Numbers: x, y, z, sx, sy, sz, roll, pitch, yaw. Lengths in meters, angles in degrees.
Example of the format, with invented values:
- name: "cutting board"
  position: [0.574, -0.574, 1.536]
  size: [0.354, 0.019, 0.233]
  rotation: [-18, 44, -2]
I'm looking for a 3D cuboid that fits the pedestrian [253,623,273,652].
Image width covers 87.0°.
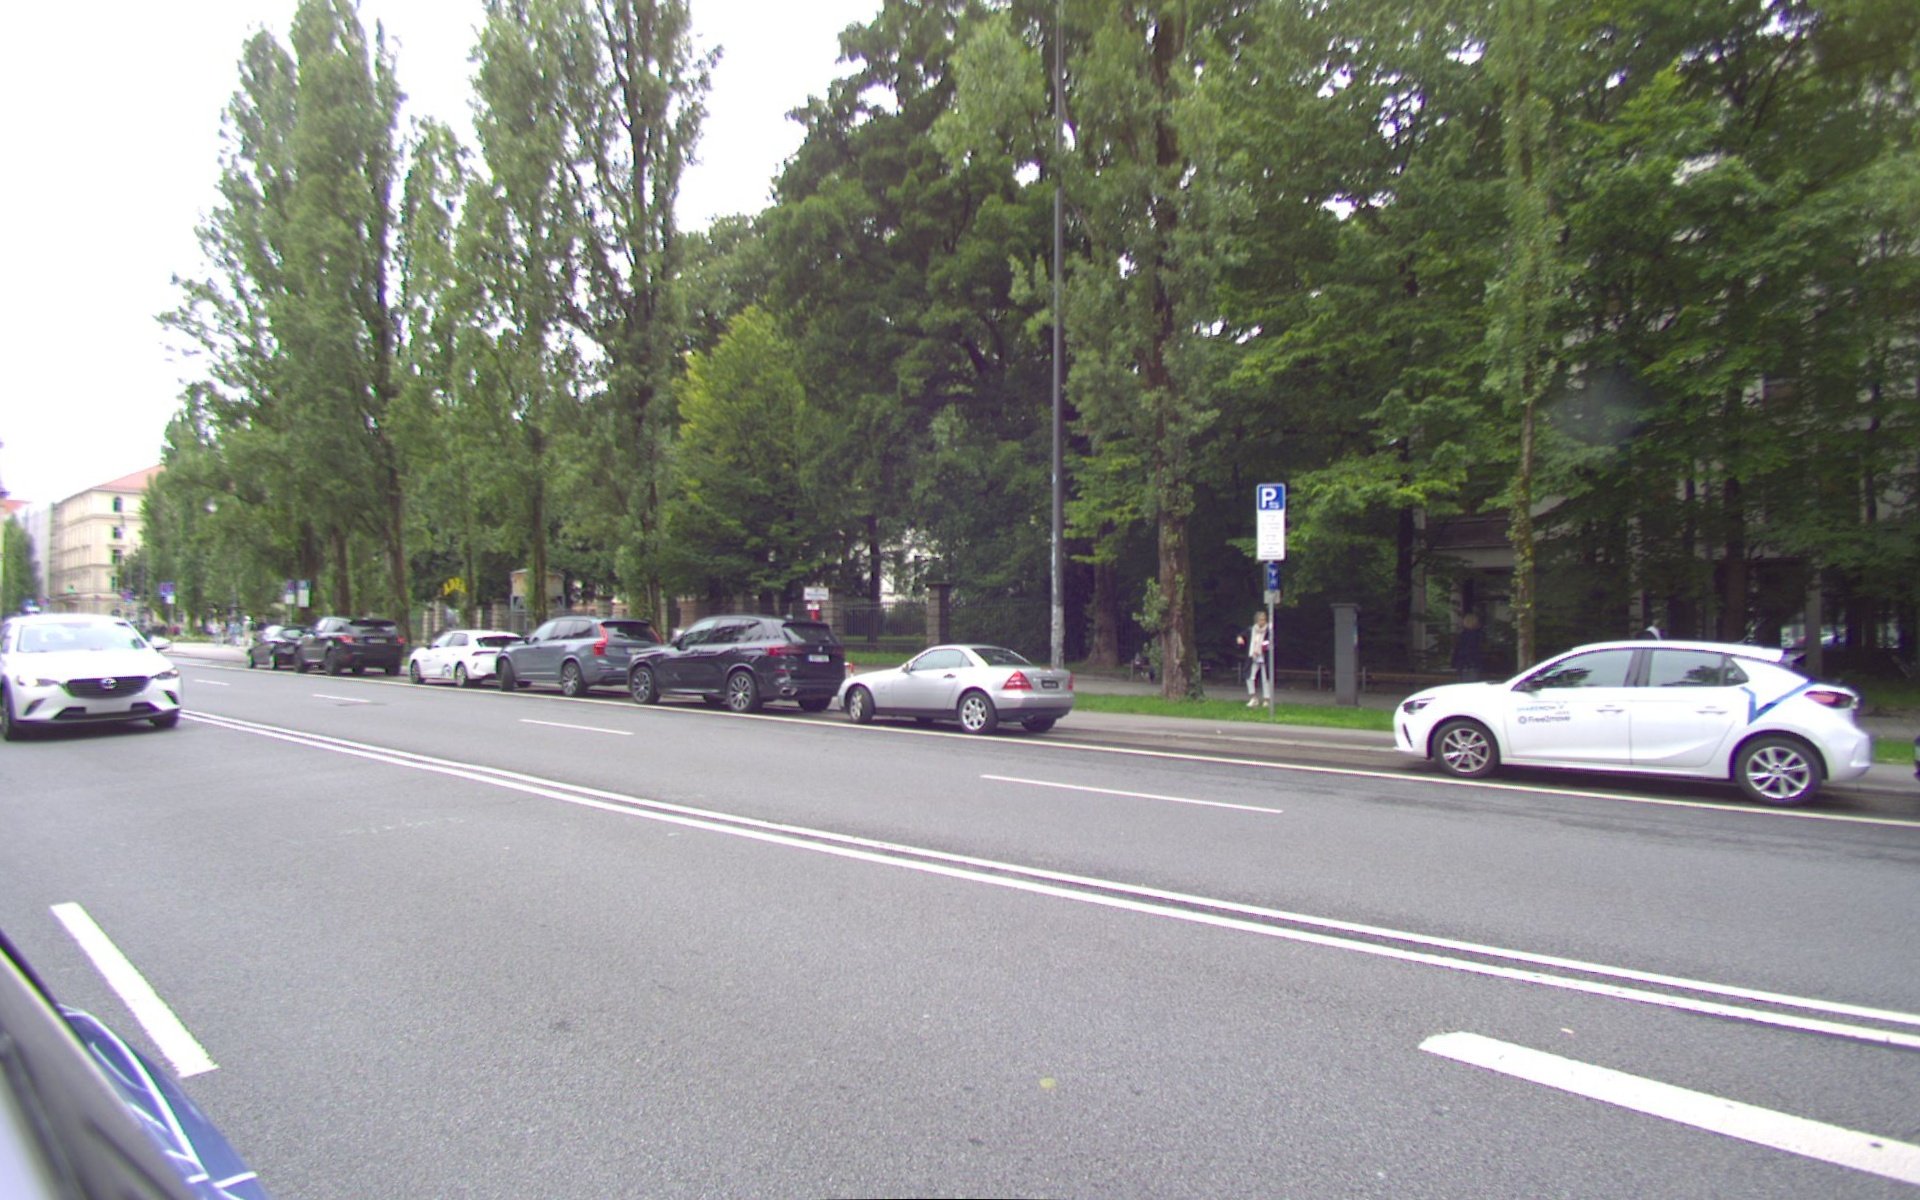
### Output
- name: "pedestrian"
  position: [-42.281, 2.277, 61.403]
  size: [1.092, 1.786, 0.702]
  rotation: [-2, -2, 39]

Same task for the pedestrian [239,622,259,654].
- name: "pedestrian"
  position: [-42.754, 2.278, 60.842]
  size: [1.092, 1.847, 0.702]
  rotation: [-2, -2, 39]

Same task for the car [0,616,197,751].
- name: "car"
  position: [-11.896, 1.014, 13.576]
  size: [4.007, 1.537, 1.885]
  rotation: [-2, -2, 41]

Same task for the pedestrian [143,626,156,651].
- name: "pedestrian"
  position: [-57.890, 2.734, 72.271]
  size: [0.581, 1.744, 0.527]
  rotation: [-1, -2, 29]

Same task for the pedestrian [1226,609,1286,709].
- name: "pedestrian"
  position: [5.109, 0.998, 17.445]
  size: [0.751, 1.677, 0.730]
  rotation: [-2, -3, 41]

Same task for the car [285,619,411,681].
- name: "car"
  position: [-19.298, 1.557, 31.837]
  size: [4.798, 1.800, 2.024]
  rotation: [-2, -4, 42]

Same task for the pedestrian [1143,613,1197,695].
- name: "pedestrian"
  position: [4.596, 1.168, 22.195]
  size: [0.956, 1.755, 0.659]
  rotation: [-2, -2, 41]

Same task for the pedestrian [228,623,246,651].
- name: "pedestrian"
  position: [-44.323, 2.255, 62.018]
  size: [0.910, 1.729, 0.653]
  rotation: [-2, -2, 39]

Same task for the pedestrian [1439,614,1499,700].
- name: "pedestrian"
  position: [9.940, 1.090, 19.761]
  size: [0.881, 1.611, 0.729]
  rotation: [-1, -1, 41]

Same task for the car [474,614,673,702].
- name: "car"
  position: [-8.903, 1.294, 23.094]
  size: [5.175, 1.803, 1.890]
  rotation: [-1, -5, 40]

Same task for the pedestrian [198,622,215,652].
- name: "pedestrian"
  position: [-45.462, 2.241, 61.039]
  size: [0.907, 1.760, 0.623]
  rotation: [-2, -2, 39]

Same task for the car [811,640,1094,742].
- name: "car"
  position: [-0.205, 1.340, 15.730]
  size: [4.230, 1.344, 1.808]
  rotation: [-1, -4, 40]

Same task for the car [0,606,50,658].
- name: "car"
  position: [-63.404, 2.153, 68.619]
  size: [4.483, 1.339, 1.776]
  rotation: [33, 11, 35]

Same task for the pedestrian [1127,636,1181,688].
- name: "pedestrian"
  position: [4.742, 1.495, 24.718]
  size: [0.922, 1.187, 0.957]
  rotation: [-1, -1, 40]

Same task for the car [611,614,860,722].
- name: "car"
  position: [-4.324, 1.234, 19.102]
  size: [4.890, 1.781, 1.922]
  rotation: [-1, -5, 39]

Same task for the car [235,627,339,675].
- name: "car"
  position: [-23.995, 1.790, 36.009]
  size: [4.386, 1.596, 1.924]
  rotation: [-2, -4, 41]

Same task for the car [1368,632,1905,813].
- name: "car"
  position: [6.582, 1.092, 10.275]
  size: [4.228, 1.463, 1.753]
  rotation: [-1, -4, 39]

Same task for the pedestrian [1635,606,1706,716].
- name: "pedestrian"
  position: [11.975, 1.000, 17.056]
  size: [0.889, 1.785, 0.729]
  rotation: [-1, -1, 41]

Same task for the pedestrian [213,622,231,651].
- name: "pedestrian"
  position: [-44.909, 2.219, 61.555]
  size: [0.885, 1.713, 0.681]
  rotation: [-2, -2, 39]

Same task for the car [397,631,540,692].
- name: "car"
  position: [-12.814, 1.556, 26.290]
  size: [4.269, 1.470, 1.687]
  rotation: [-1, -4, 40]

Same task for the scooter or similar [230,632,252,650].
- name: "scooter or similar"
  position: [-48.592, 2.774, 68.389]
  size: [1.413, 1.187, 0.738]
  rotation: [-2, -4, 36]
